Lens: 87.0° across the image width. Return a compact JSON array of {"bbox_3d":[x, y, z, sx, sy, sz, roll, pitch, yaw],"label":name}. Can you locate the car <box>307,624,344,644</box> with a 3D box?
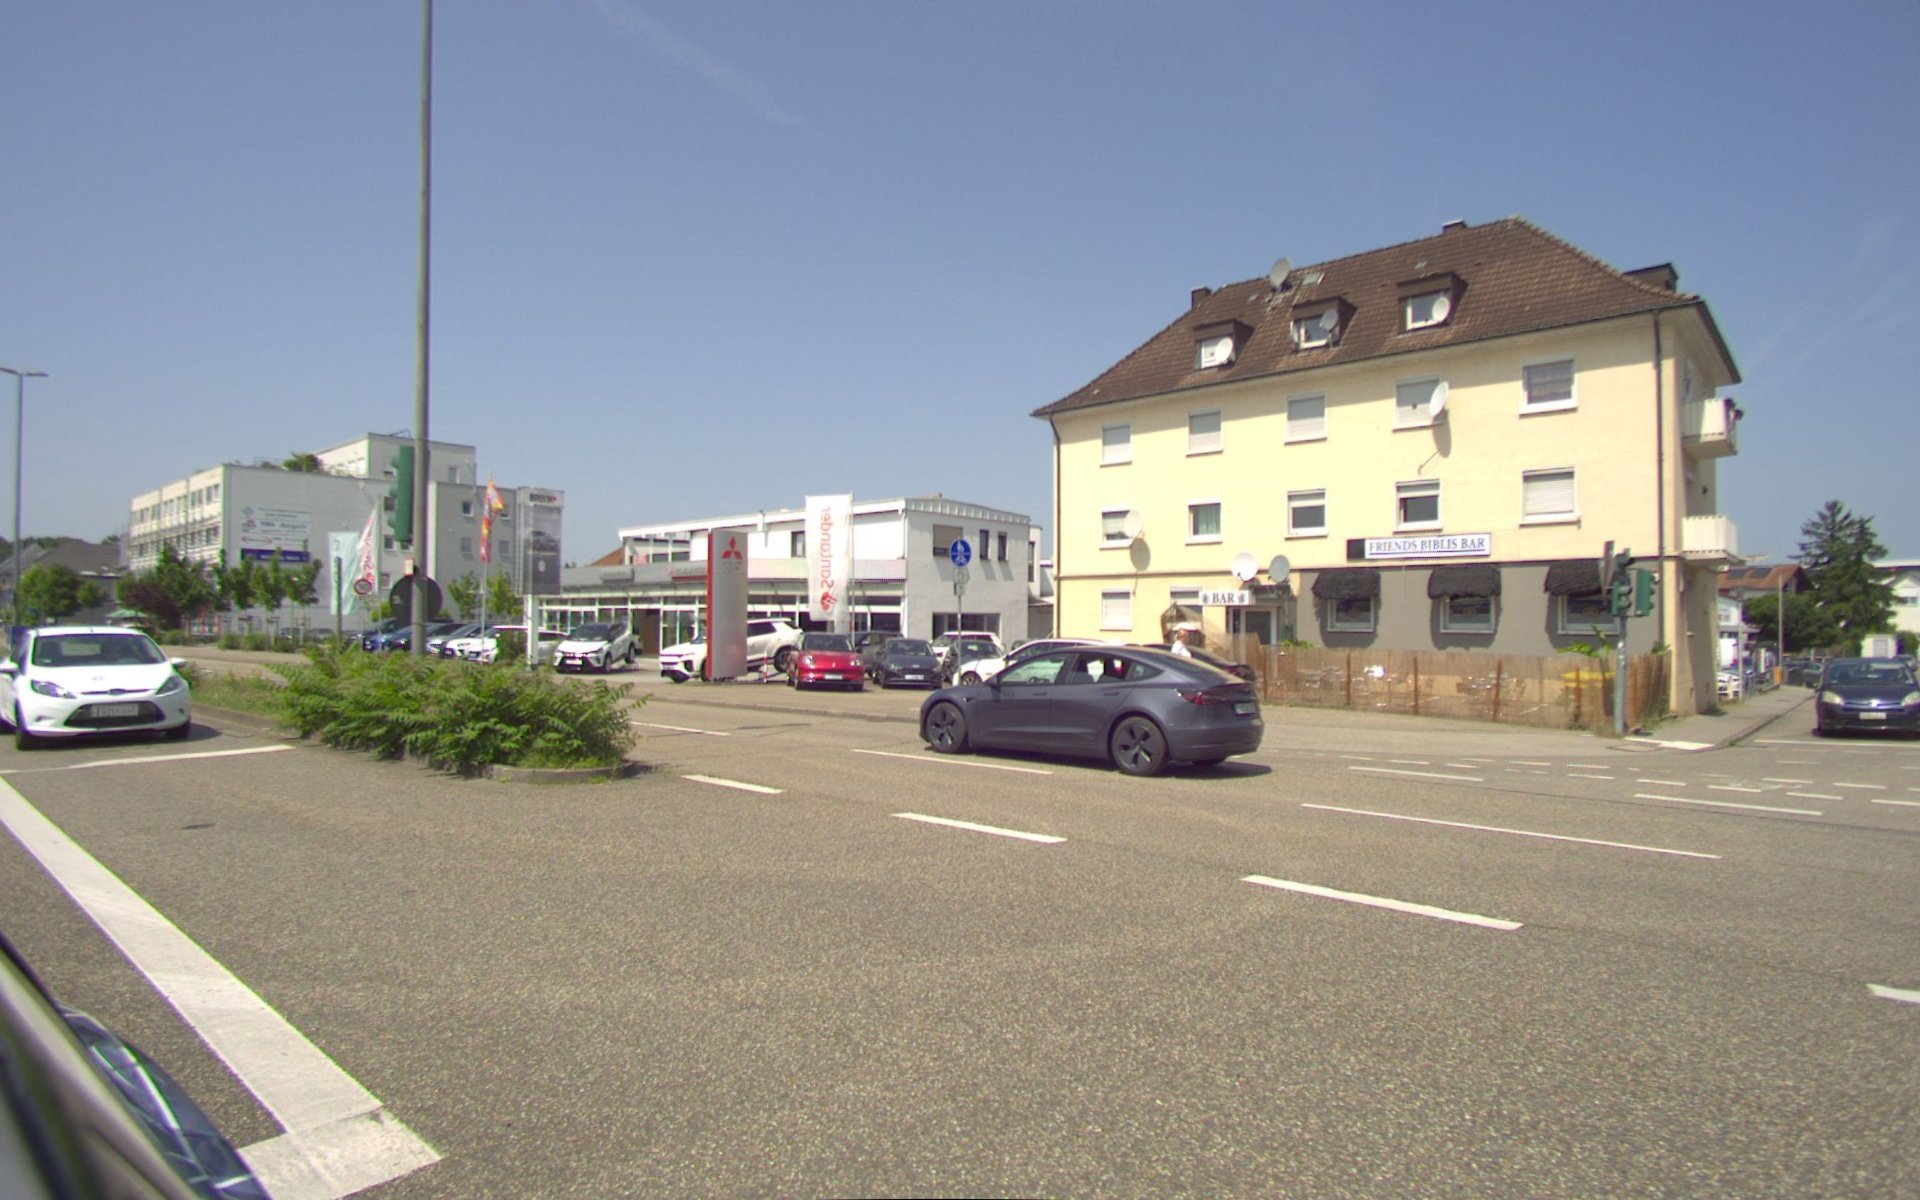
[{"bbox_3d":[-49.069,2.613,78.239,3.557,1.530,1.536,-1,-2,44],"label":"car"}]

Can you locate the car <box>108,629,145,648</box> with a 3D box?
[{"bbox_3d":[-67.342,3.100,81.780,3.663,1.460,1.674,-1,-1,40],"label":"car"}]

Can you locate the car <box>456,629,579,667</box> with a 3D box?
[{"bbox_3d":[-17.095,1.822,39.245,1.858,1.405,3.947,-1,-2,40],"label":"car"}]

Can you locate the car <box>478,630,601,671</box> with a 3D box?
[{"bbox_3d":[-15.795,1.870,38.162,1.758,1.478,3.947,-1,-2,40],"label":"car"}]

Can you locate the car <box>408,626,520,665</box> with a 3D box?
[{"bbox_3d":[-21.205,1.920,43.362,1.758,1.580,3.947,-1,-3,40],"label":"car"}]

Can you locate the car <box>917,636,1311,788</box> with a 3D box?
[{"bbox_3d":[1.770,1.221,12.556,4.499,1.497,1.972,-1,-2,41],"label":"car"}]

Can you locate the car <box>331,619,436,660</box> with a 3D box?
[{"bbox_3d":[-27.910,1.892,49.066,1.998,1.896,3.947,-1,-2,40],"label":"car"}]

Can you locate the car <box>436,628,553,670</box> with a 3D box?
[{"bbox_3d":[-19.030,1.973,41.464,1.925,1.621,3.943,-1,-2,43],"label":"car"}]

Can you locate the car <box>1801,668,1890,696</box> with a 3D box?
[{"bbox_3d":[56.050,5.156,64.086,1.969,1.609,4.006,2,-3,-40],"label":"car"}]

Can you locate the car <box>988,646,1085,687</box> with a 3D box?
[{"bbox_3d":[2.511,2.204,34.174,1.622,1.261,4.013,1,-2,-22],"label":"car"}]

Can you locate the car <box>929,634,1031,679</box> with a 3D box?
[{"bbox_3d":[0.826,2.130,38.885,1.864,1.627,3.945,-1,-2,41],"label":"car"}]

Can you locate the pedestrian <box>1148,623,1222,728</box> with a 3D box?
[{"bbox_3d":[3.916,1.288,17.645,1.034,1.760,0.732,-2,-2,44],"label":"pedestrian"}]

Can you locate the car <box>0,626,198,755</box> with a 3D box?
[{"bbox_3d":[-11.468,1.069,13.255,3.710,1.445,1.671,-1,-2,42],"label":"car"}]

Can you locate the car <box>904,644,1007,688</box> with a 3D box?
[{"bbox_3d":[-0.219,2.058,32.139,1.622,1.261,4.013,1,-2,-28],"label":"car"}]

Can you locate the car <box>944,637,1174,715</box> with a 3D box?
[{"bbox_3d":[1.982,1.524,21.346,4.758,1.421,1.757,-1,-2,42],"label":"car"}]

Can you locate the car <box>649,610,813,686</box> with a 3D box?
[{"bbox_3d":[-6.823,1.353,30.521,1.760,1.722,4.497,-1,4,44],"label":"car"}]

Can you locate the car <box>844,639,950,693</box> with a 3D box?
[{"bbox_3d":[-1.919,1.898,29.798,1.622,1.437,4.013,1,-2,-28],"label":"car"}]

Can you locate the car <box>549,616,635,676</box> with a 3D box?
[{"bbox_3d":[-13.063,1.583,36.170,1.734,1.635,4.004,0,5,-3],"label":"car"}]

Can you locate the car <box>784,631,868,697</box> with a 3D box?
[{"bbox_3d":[-3.758,1.693,27.818,1.809,1.655,4.189,1,-2,-14],"label":"car"}]

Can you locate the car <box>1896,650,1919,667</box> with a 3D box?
[{"bbox_3d":[82.041,5.042,87.429,1.622,1.369,3.242,-1,-3,41],"label":"car"}]

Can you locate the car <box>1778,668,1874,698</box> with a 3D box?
[{"bbox_3d":[52.850,5.053,61.794,1.966,1.630,4.012,2,-2,-31],"label":"car"}]

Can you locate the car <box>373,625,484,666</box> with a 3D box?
[{"bbox_3d":[-23.687,2.041,45.184,1.758,1.621,3.947,-1,-5,40],"label":"car"}]

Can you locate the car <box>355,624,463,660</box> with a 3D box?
[{"bbox_3d":[-25.733,1.954,47.331,2.087,1.621,3.947,-1,-3,40],"label":"car"}]

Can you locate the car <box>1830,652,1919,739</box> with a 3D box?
[{"bbox_3d":[19.488,1.913,20.932,3.940,1.624,1.870,2,-3,-44],"label":"car"}]
